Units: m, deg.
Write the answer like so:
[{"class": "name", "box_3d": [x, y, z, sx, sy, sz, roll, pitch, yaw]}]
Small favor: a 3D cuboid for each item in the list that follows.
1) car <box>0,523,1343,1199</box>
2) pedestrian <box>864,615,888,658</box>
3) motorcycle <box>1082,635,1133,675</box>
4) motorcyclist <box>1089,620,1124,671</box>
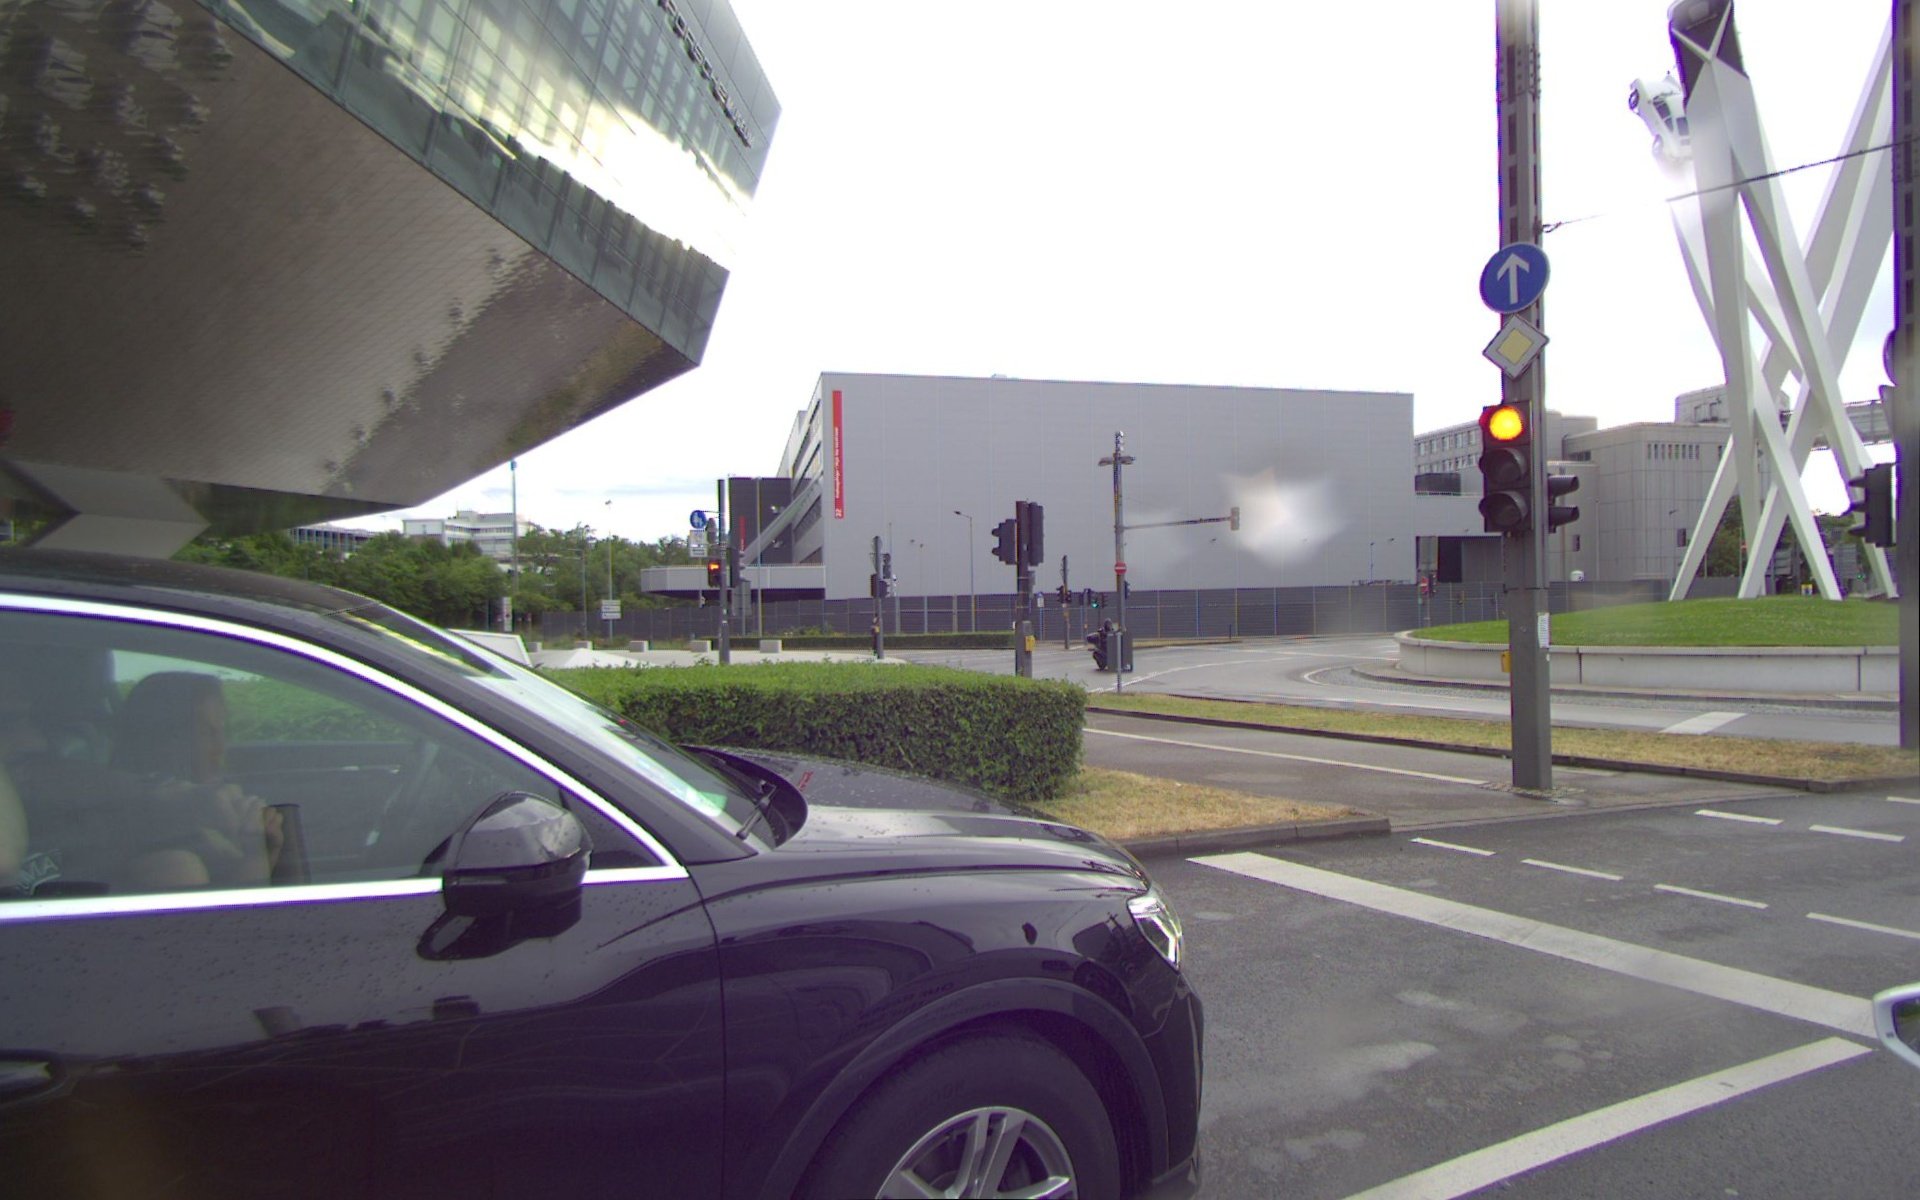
[{"class": "car", "box_3d": [-1.487, 0.682, 1.795, 4.344, 1.538, 1.743, 2, 0, -31]}, {"class": "pedestrian", "box_3d": [-3.594, 1.539, 42.910, 0.638, 1.827, 0.851, 0, 0, 35]}, {"class": "motorcycle", "box_3d": [4.811, 1.789, 32.950, 0.445, 1.208, 2.250, 0, -1, -28]}, {"class": "motorcyclist", "box_3d": [4.811, 1.473, 32.998, 0.662, 1.644, 1.027, 0, 0, -28]}]
